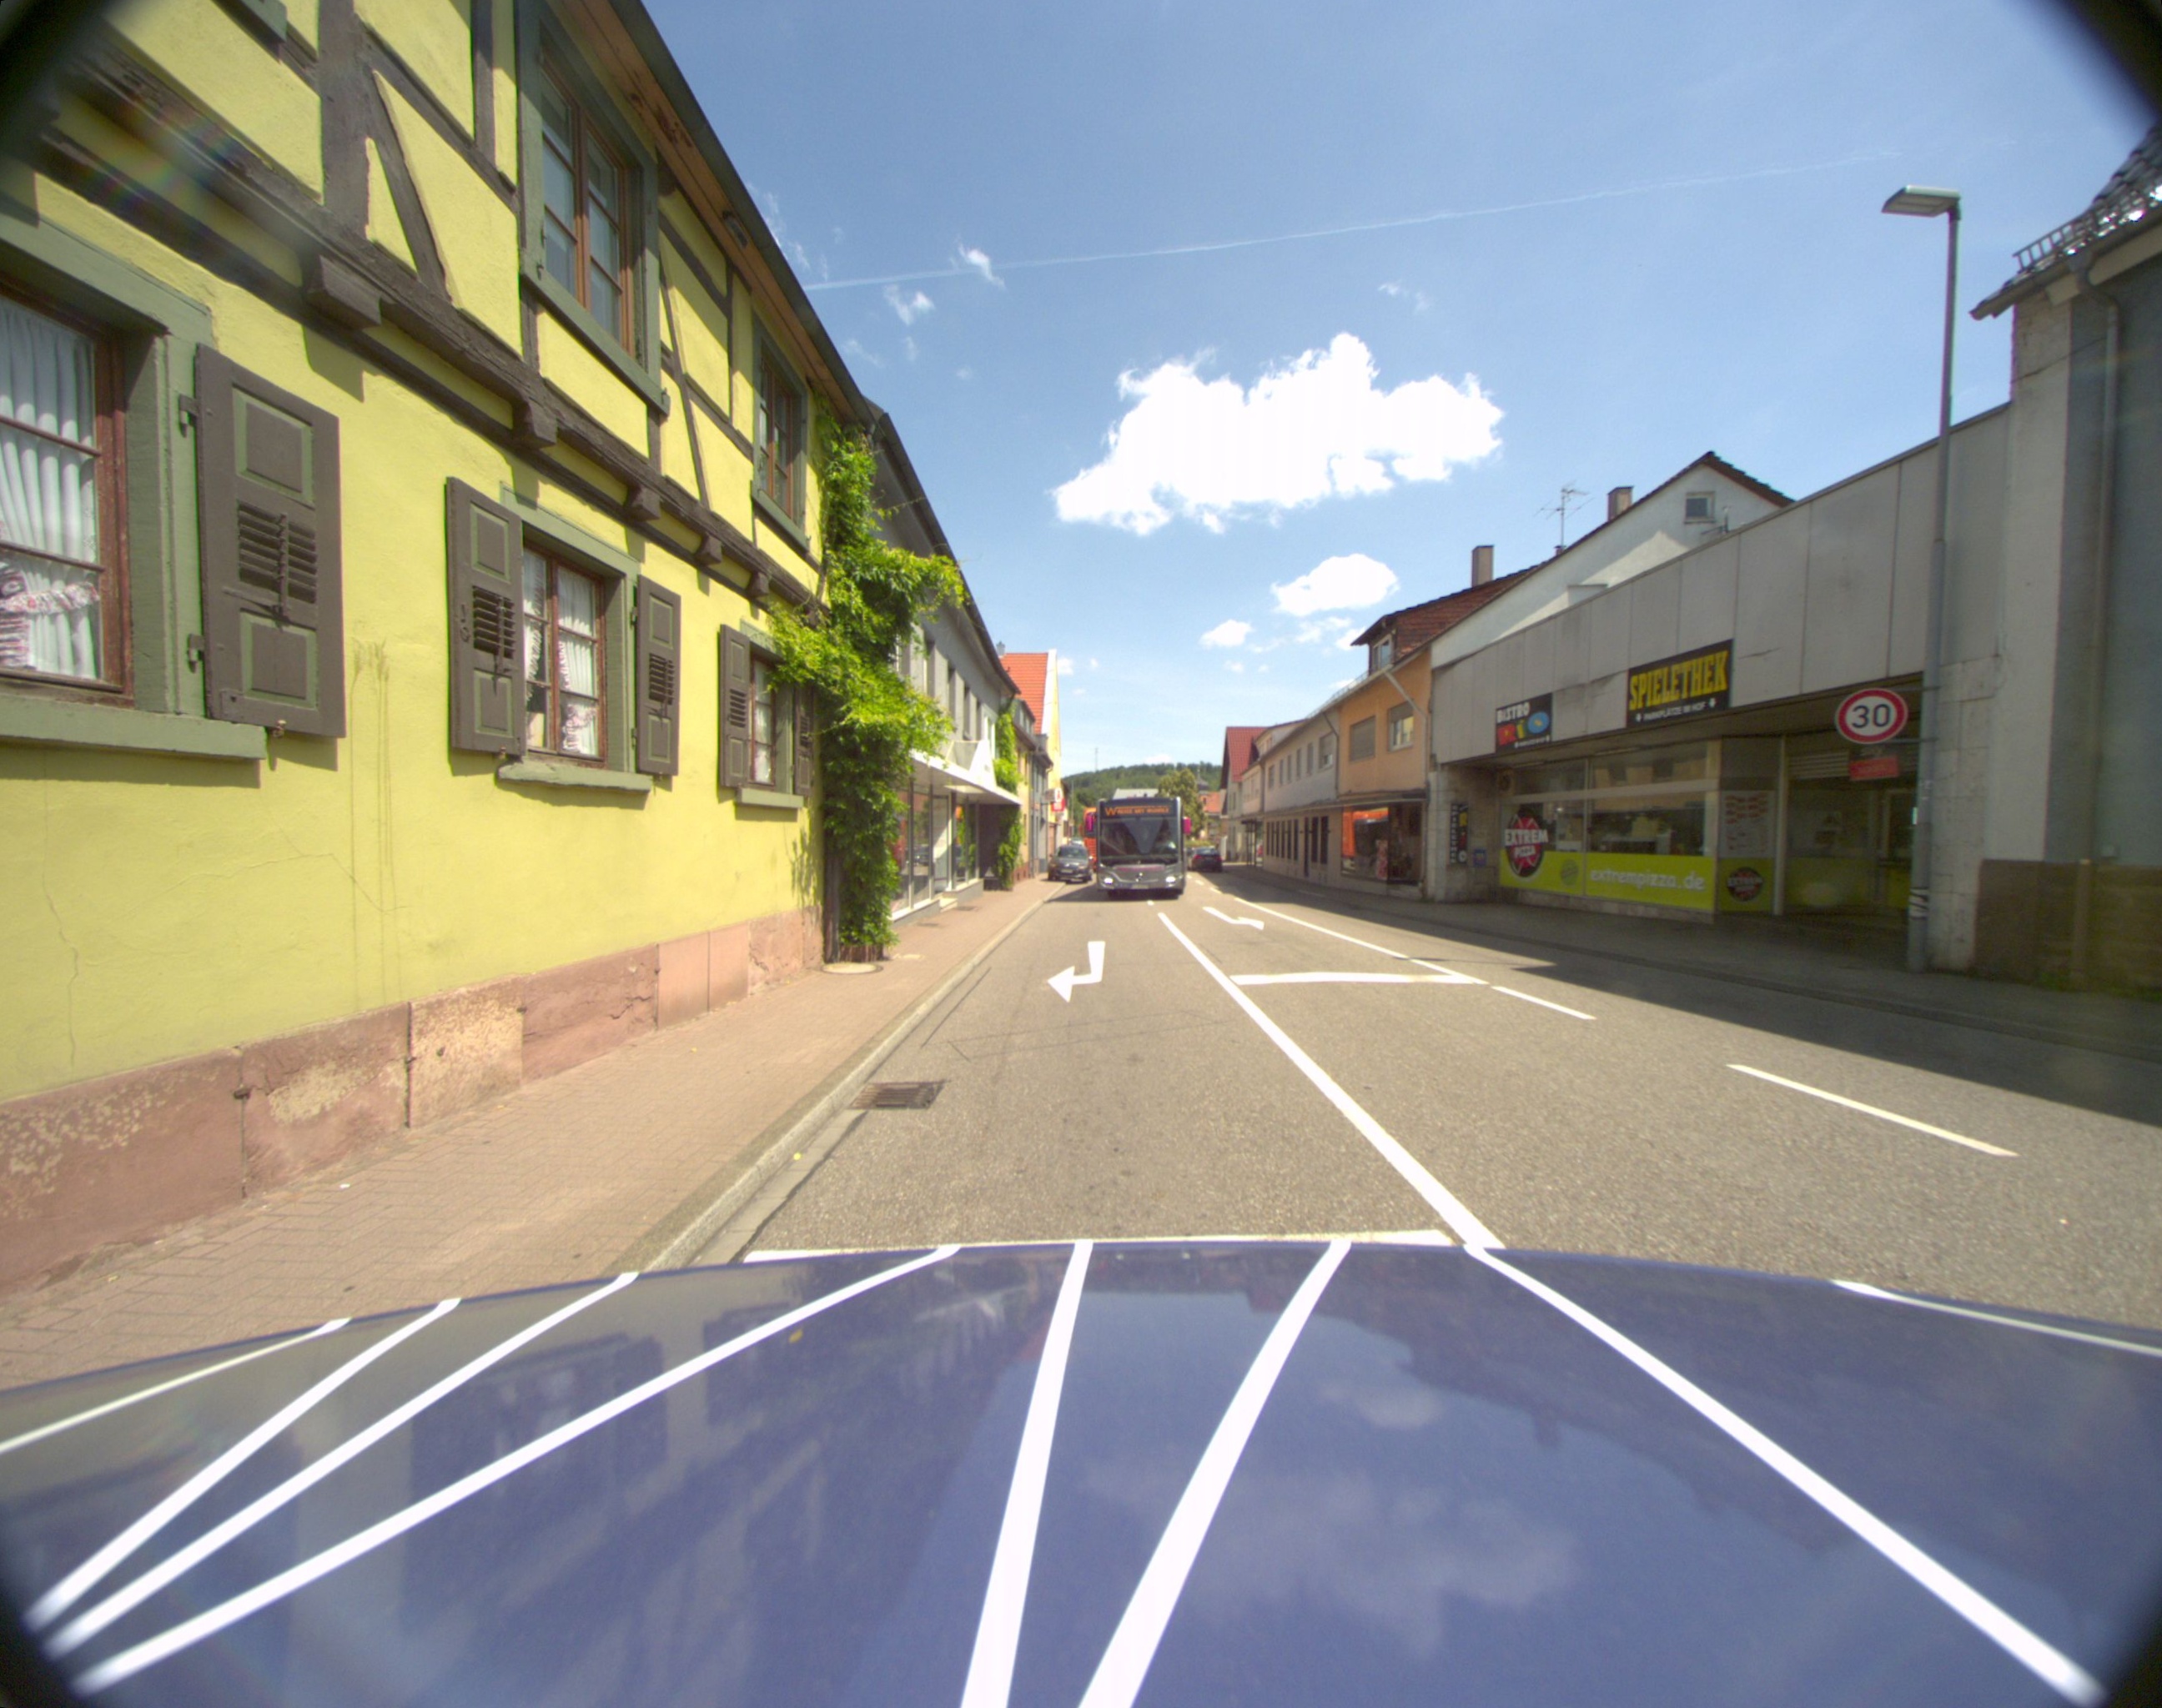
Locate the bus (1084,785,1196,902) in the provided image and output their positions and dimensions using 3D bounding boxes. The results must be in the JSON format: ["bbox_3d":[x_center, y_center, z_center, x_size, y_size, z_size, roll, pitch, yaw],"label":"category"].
[{"bbox_3d":[3.043,-0.360,30.380,2.857,3.186,19.044,-1,0,9],"label":"bus"}]

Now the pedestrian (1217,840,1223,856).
[{"bbox_3d":[14.823,-0.654,81.236,0.471,1.754,0.478,-1,3,-18],"label":"pedestrian"}]

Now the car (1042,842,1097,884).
[{"bbox_3d":[-0.451,0.343,34.620,1.997,1.699,4.101,2,2,5],"label":"car"}]

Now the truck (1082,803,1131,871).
[{"bbox_3d":[1.831,-1.034,50.272,2.614,3.922,9.995,-2,0,5],"label":"truck"}]

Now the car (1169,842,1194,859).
[{"bbox_3d":[8.746,-0.302,66.357,1.721,1.414,3.821,1,0,2],"label":"car"}]

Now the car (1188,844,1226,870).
[{"bbox_3d":[7.985,0.141,48.640,1.801,1.479,4.797,2,1,3],"label":"car"}]
